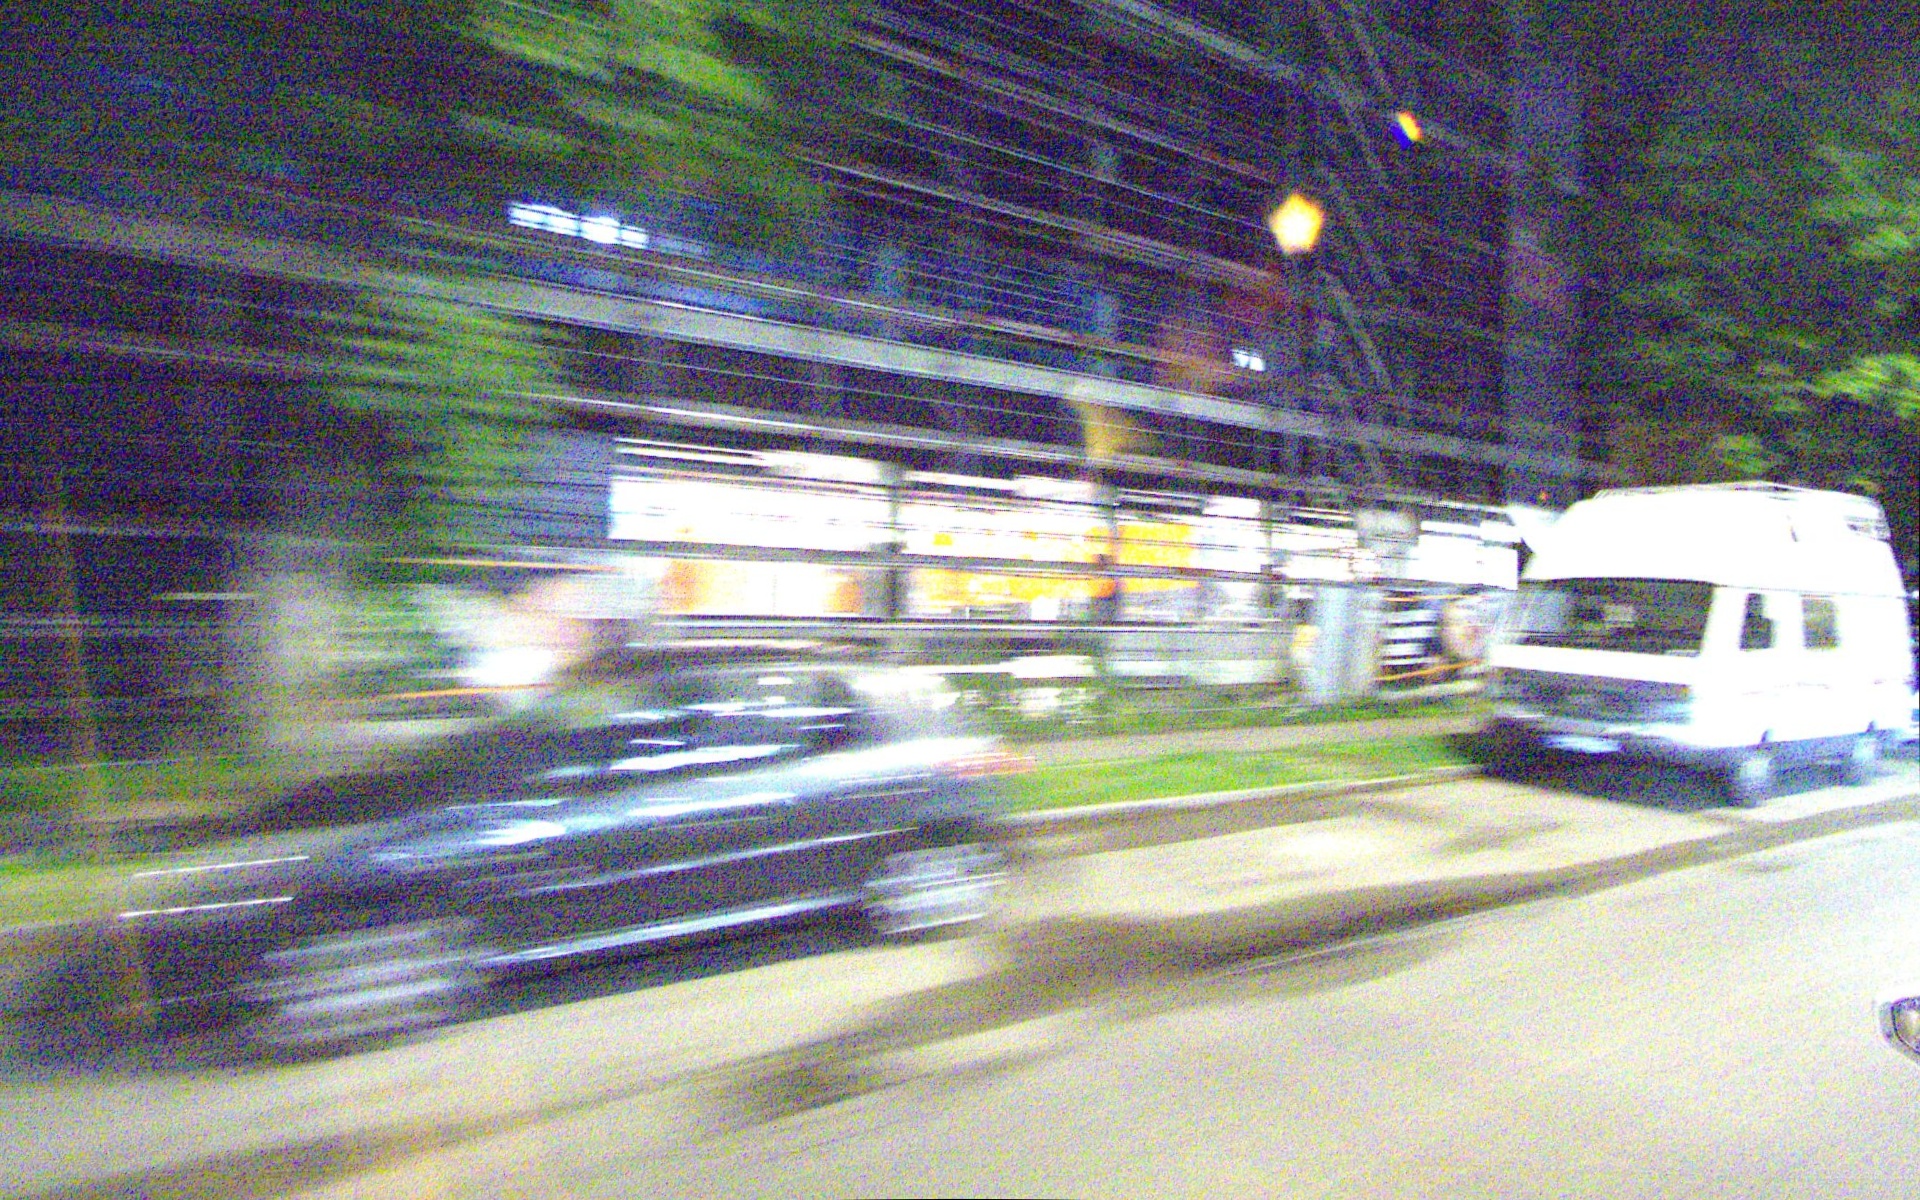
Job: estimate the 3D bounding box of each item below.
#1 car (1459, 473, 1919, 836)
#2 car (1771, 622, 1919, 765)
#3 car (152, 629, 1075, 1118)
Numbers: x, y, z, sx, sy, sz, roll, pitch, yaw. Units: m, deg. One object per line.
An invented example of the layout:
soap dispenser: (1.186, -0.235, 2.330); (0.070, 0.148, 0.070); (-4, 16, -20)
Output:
car: (7.629, 0.466, 10.356); (4.854, 2.948, 2.168); (1, 0, -31)
car: (12.642, 1.133, 13.237); (4.068, 1.628, 1.733); (1, 0, -31)
car: (-1.441, 0.949, 5.005); (3.817, 1.525, 1.637); (0, 0, -31)
